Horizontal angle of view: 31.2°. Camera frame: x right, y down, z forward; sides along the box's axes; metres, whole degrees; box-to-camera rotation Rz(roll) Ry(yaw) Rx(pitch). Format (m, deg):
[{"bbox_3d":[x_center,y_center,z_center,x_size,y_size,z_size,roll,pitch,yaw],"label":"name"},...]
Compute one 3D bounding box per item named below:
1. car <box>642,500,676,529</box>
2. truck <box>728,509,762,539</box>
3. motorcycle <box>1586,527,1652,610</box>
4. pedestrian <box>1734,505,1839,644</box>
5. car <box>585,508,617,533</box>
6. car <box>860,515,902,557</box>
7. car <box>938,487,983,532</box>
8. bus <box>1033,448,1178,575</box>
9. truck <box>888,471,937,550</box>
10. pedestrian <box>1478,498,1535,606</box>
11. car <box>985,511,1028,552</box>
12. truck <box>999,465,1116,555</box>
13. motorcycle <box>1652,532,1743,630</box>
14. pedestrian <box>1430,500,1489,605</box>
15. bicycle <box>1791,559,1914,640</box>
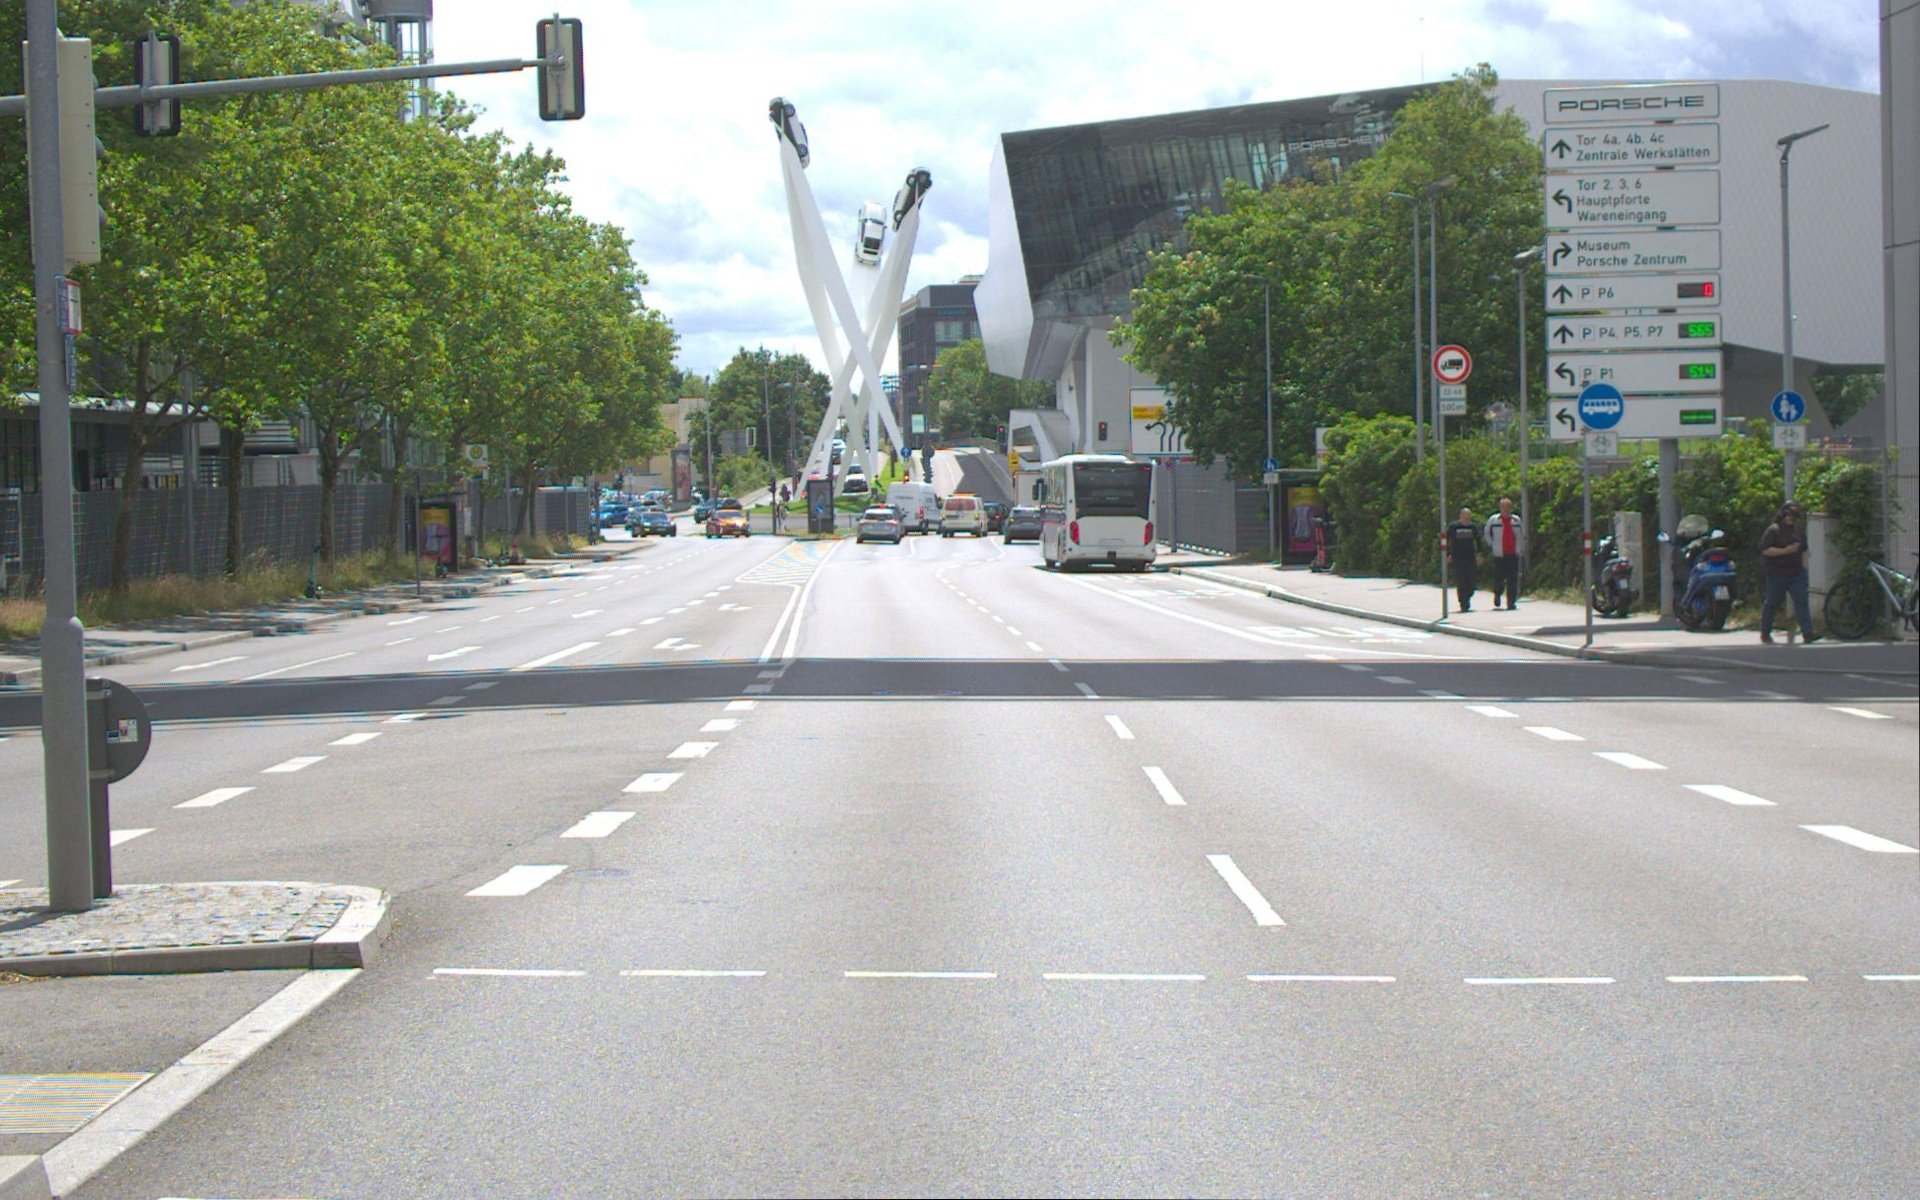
[{"bbox_3d":[-16.793,-4.745,191.541,1.818,1.532,3.679,-2,1,-6],"label":"car"},{"bbox_3d":[-11.104,-3.946,177.541,1.583,1.532,3.679,0,1,-6],"label":"truck"},{"bbox_3d":[10.098,-0.494,52.741,0.574,1.199,2.024,-2,2,-1],"label":"motorcycle"},{"bbox_3d":[9.753,-0.305,40.560,0.849,1.619,0.954,1,1,41],"label":"pedestrian"},{"bbox_3d":[-23.175,-5.099,221.968,1.818,1.532,3.679,-2,1,-2],"label":"car"},{"bbox_3d":[-3.369,-2.735,146.730,1.738,1.735,3.691,0,1,-1],"label":"car"},{"bbox_3d":[0.048,-4.346,165.471,1.994,2.007,4.000,1,0,2],"label":"car"},{"bbox_3d":[4.151,-2.559,100.677,3.452,3.531,10.607,0,1,-2],"label":"bus"},{"bbox_3d":[-2.353,-4.468,172.092,2.392,3.884,6.177,0,1,-1],"label":"truck"},{"bbox_3d":[8.854,-0.776,55.721,0.820,1.735,0.637,0,1,0],"label":"pedestrian"},{"bbox_3d":[1.990,-2.949,147.437,1.738,1.735,3.691,0,1,-1],"label":"car"},{"bbox_3d":[4.917,-4.464,171.633,3.455,4.376,9.412,0,1,17],"label":"truck"},{"bbox_3d":[9.614,-0.259,44.883,0.706,1.199,2.024,-2,2,-1],"label":"motorcycle"},{"bbox_3d":[8.111,-0.775,55.802,0.820,1.701,0.881,0,1,-1],"label":"pedestrian"},{"bbox_3d":[10.620,-0.018,40.964,0.397,0.933,1.929,0,1,-19],"label":"bicycle"}]
